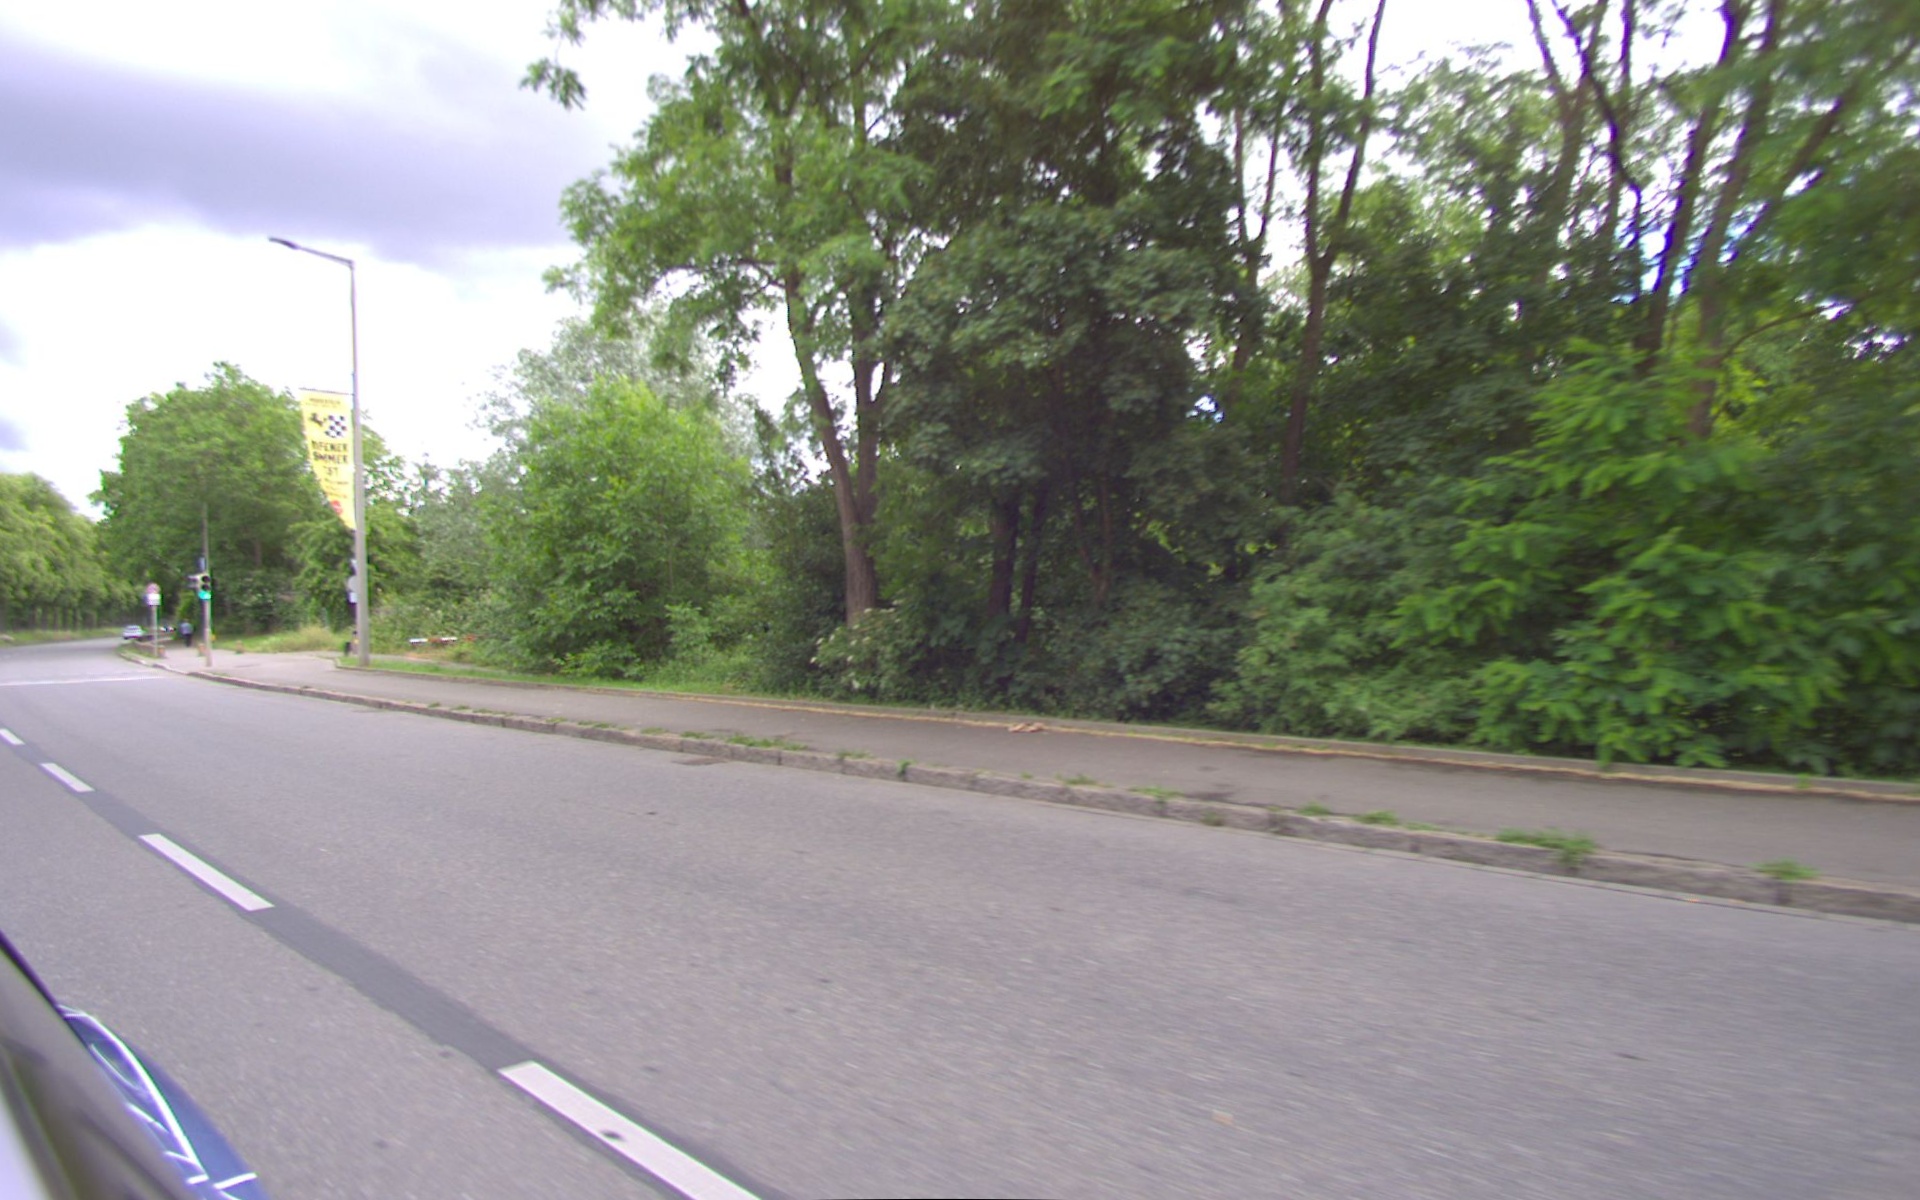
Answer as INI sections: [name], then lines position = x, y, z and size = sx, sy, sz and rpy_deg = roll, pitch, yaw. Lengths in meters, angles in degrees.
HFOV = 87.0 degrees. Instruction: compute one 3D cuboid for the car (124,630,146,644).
[car]
position = -93.314, 4.157, 114.429
size = 1.751, 1.450, 4.367
rpy_deg = 0, -2, -42
